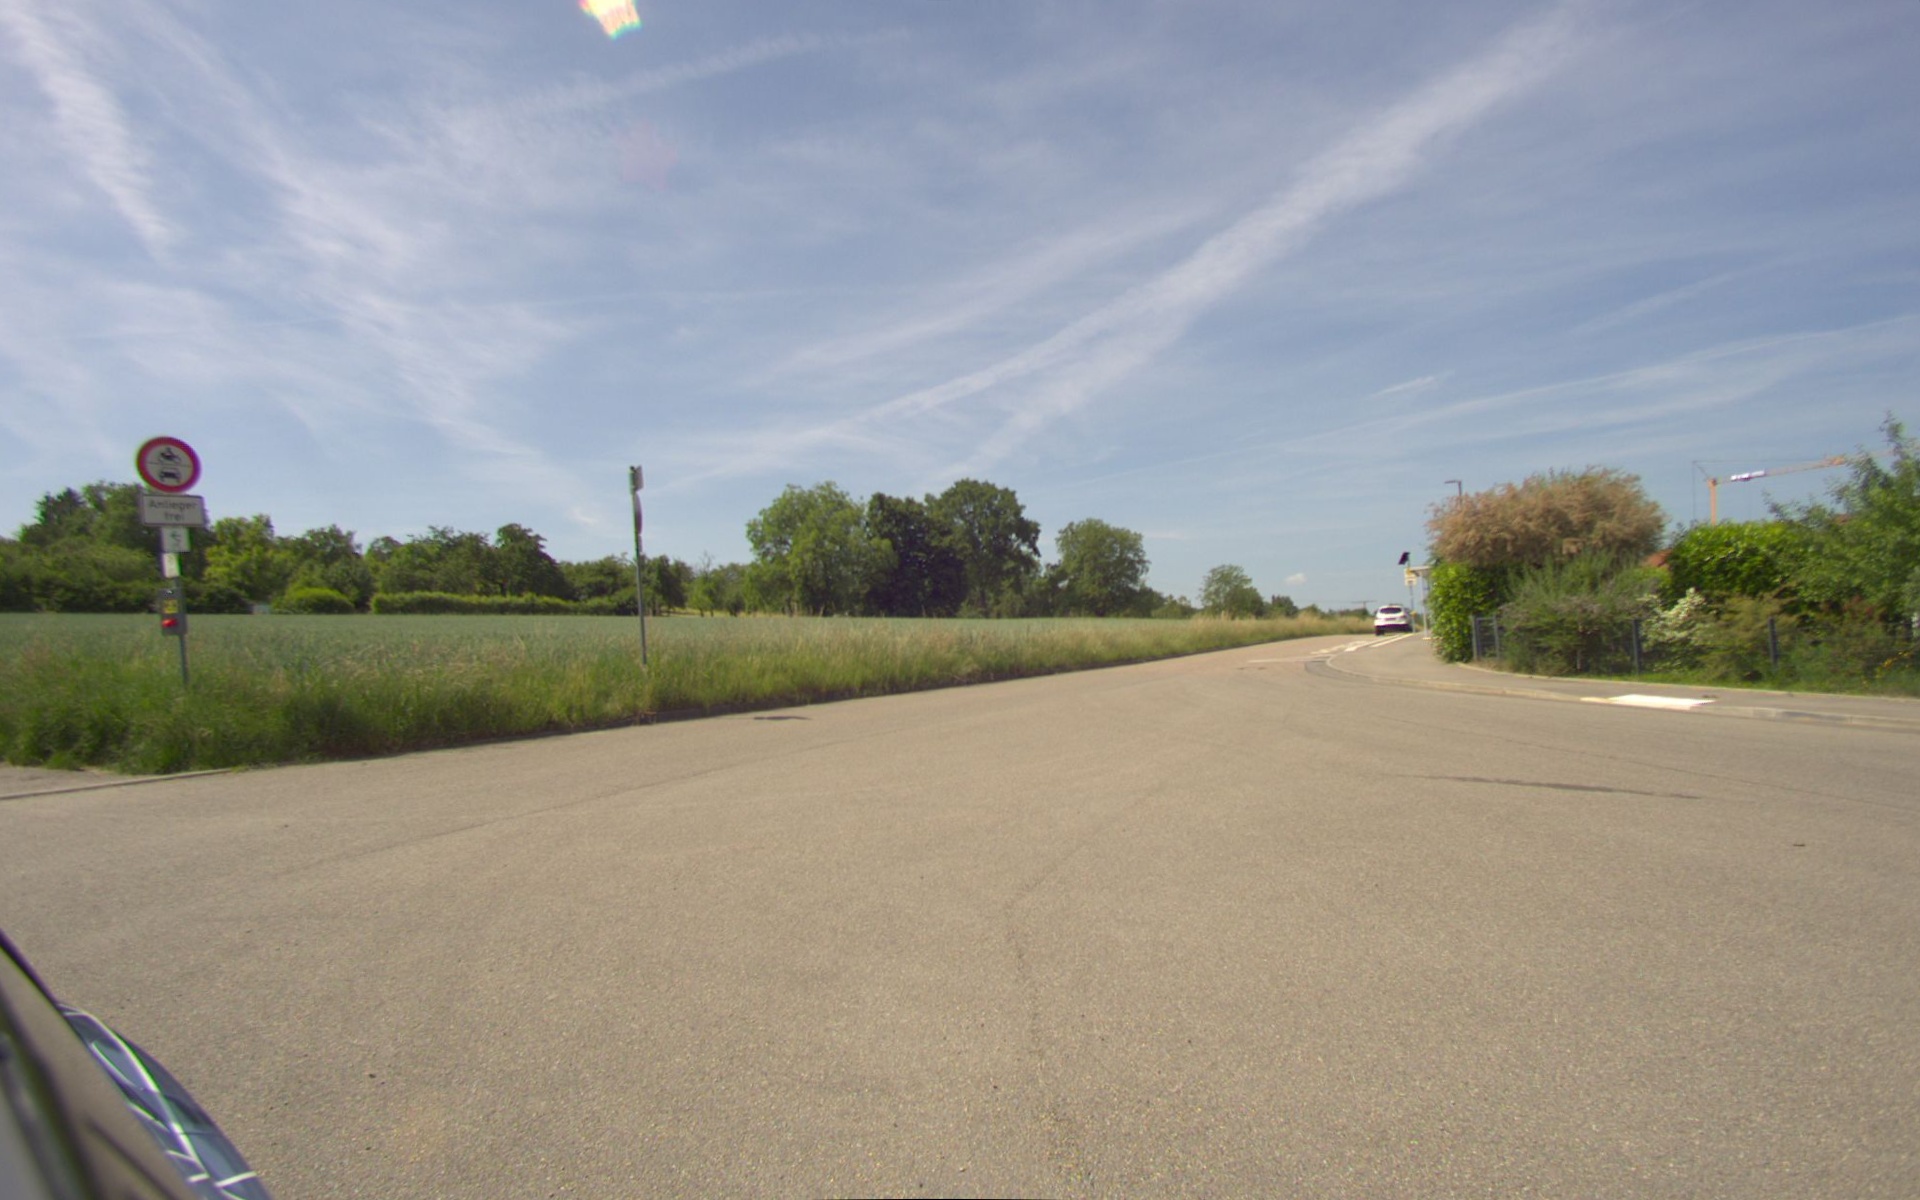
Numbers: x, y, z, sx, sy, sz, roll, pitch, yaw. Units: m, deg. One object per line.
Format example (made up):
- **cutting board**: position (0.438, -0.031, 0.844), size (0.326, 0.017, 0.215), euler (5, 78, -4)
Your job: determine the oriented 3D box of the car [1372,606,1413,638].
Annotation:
- **car**: position (24.571, 1.234, 57.410), size (1.731, 1.646, 4.311), euler (-4, -3, 27)
